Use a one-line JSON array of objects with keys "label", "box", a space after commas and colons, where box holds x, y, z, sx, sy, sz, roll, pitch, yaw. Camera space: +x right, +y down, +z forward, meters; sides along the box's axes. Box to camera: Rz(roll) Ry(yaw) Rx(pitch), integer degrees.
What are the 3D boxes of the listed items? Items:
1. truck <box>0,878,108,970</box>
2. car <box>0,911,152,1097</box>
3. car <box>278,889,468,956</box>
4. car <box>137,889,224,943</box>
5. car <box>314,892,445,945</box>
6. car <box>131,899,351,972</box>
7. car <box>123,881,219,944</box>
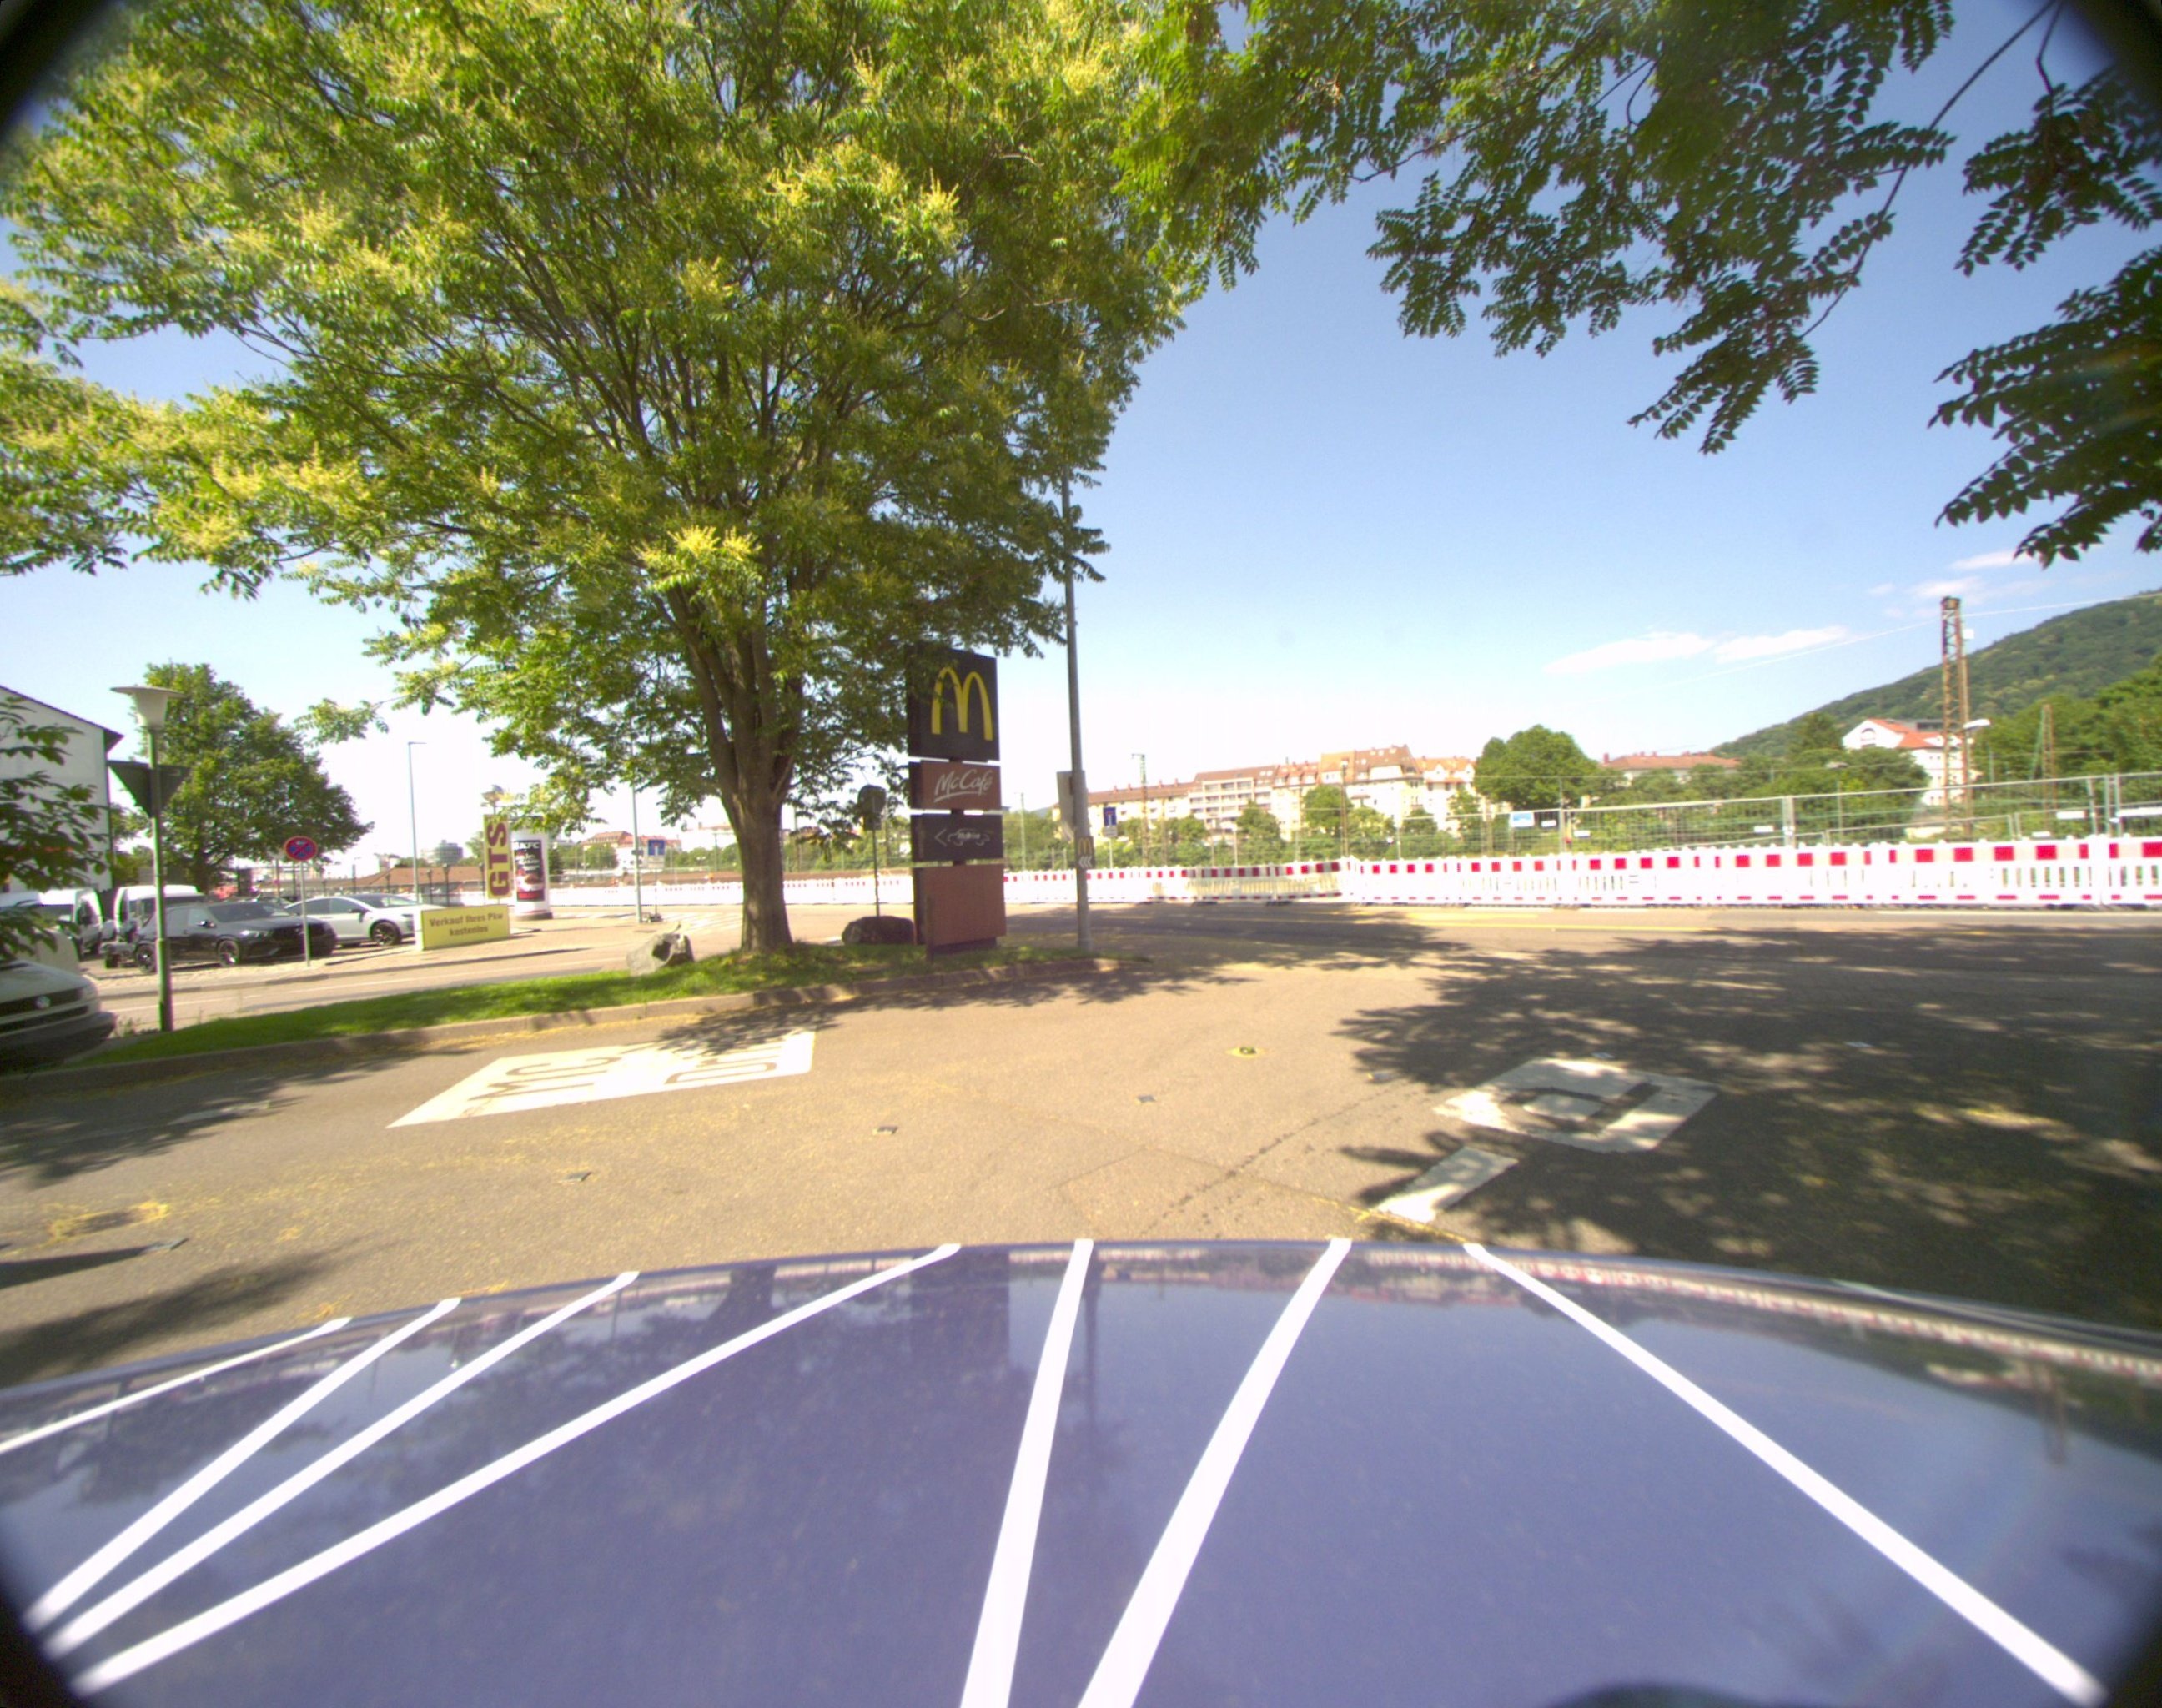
[{"label": "truck", "box": [-36.573, 2.411, 26.930, 5.927, 2.886, 2.281, -3, -1, 40]}, {"label": "car", "box": [-12.091, 1.460, 6.528, 5.032, 1.573, 1.956, -2, -1, -12]}, {"label": "car", "box": [-21.758, 2.069, 23.465, 3.996, 1.715, 2.001, -3, -1, 3]}, {"label": "car", "box": [-32.778, 2.207, 27.616, 4.710, 1.727, 1.887, -3, -1, 39]}, {"label": "car", "box": [-24.868, 2.281, 26.942, 3.991, 1.619, 1.865, -3, 0, 23]}, {"label": "car", "box": [-22.255, 2.154, 20.176, 4.415, 1.585, 2.056, -3, -1, 15]}, {"label": "car", "box": [-37.535, 2.365, 31.316, 4.698, 2.271, 2.147, -3, 0, 36]}]
